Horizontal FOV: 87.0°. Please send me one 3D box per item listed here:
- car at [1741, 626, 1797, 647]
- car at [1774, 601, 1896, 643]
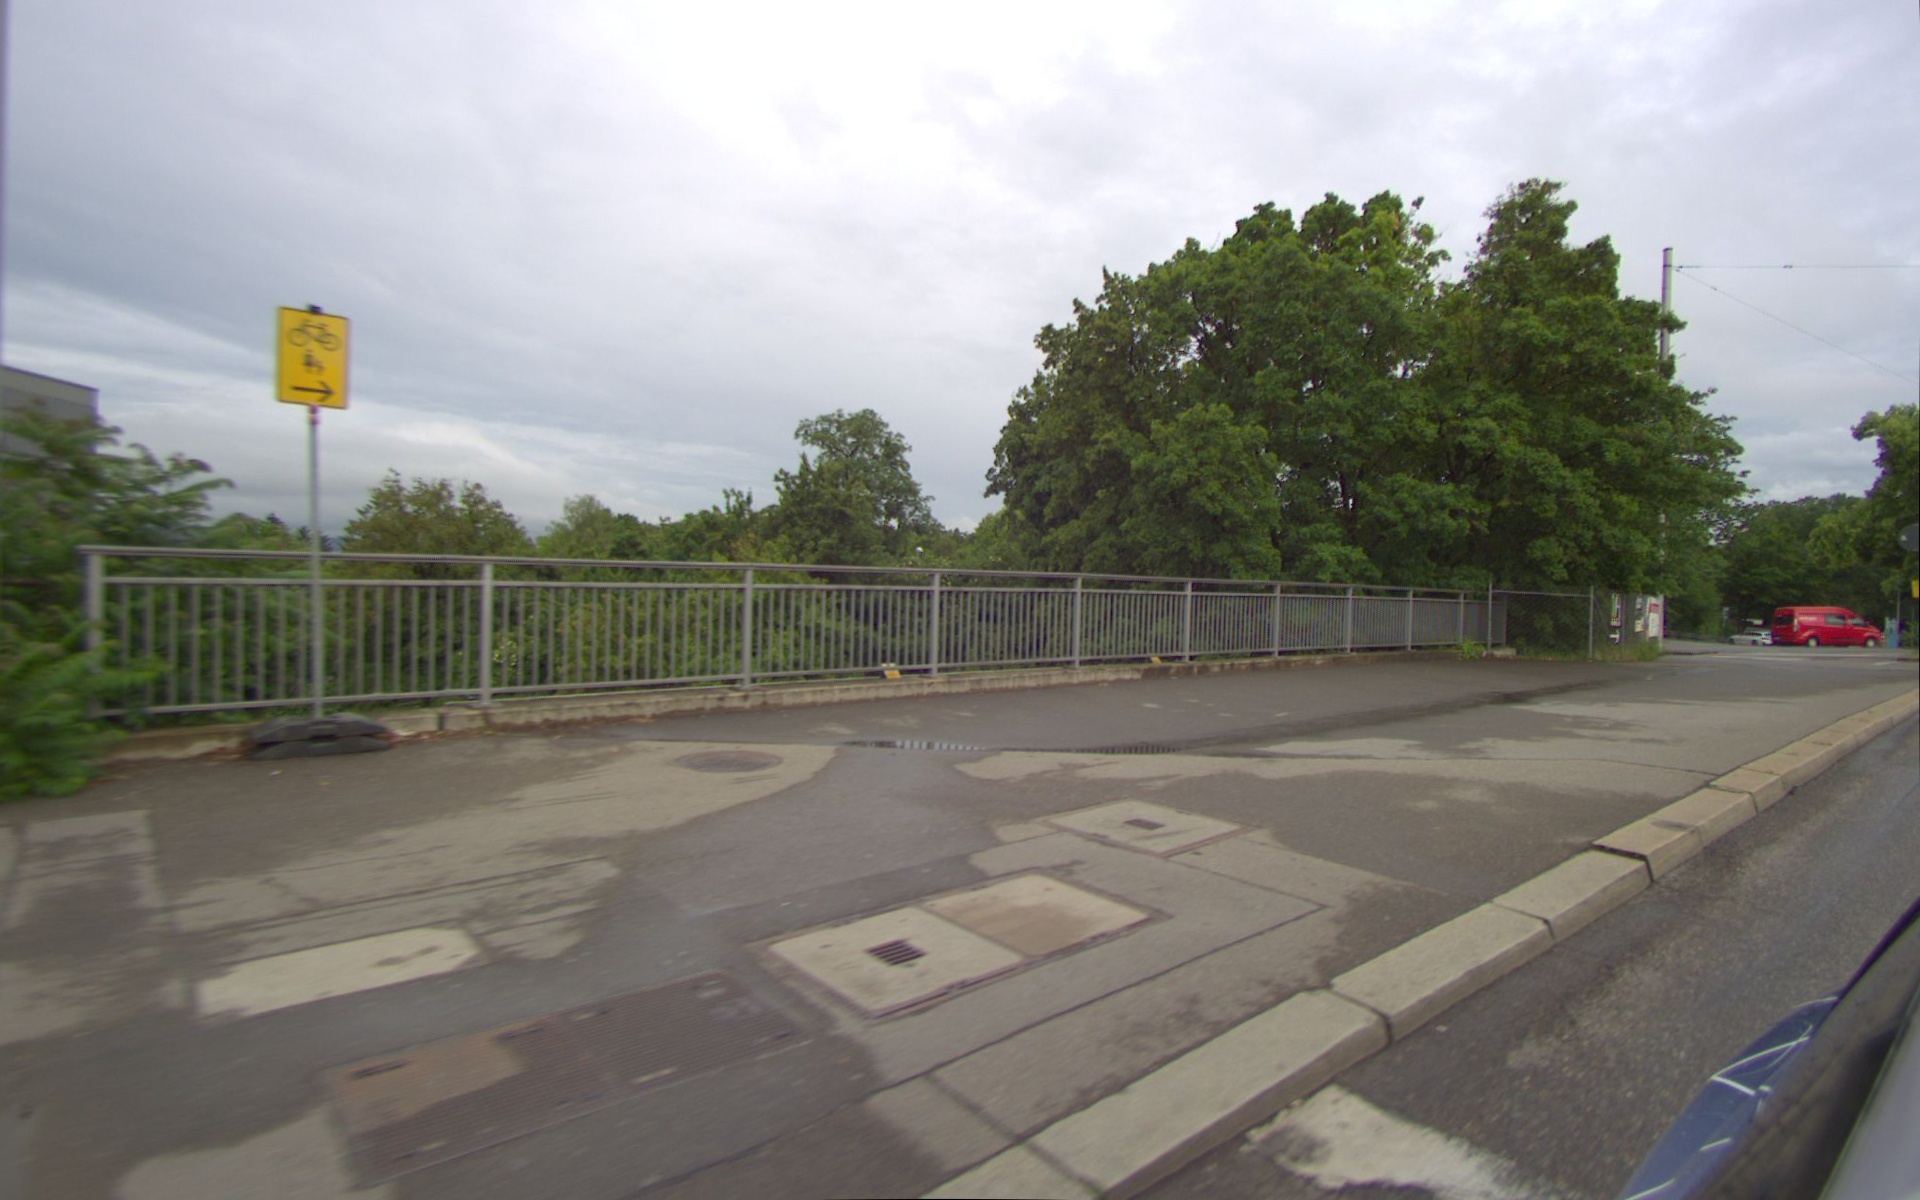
[{"bbox_3d":[70.083,3.150,87.716,1.855,1.533,3.801,1,1,3],"label":"car"},{"bbox_3d":[48.801,1.184,56.499,4.937,2.220,1.999,1,0,2],"label":"car"}]
